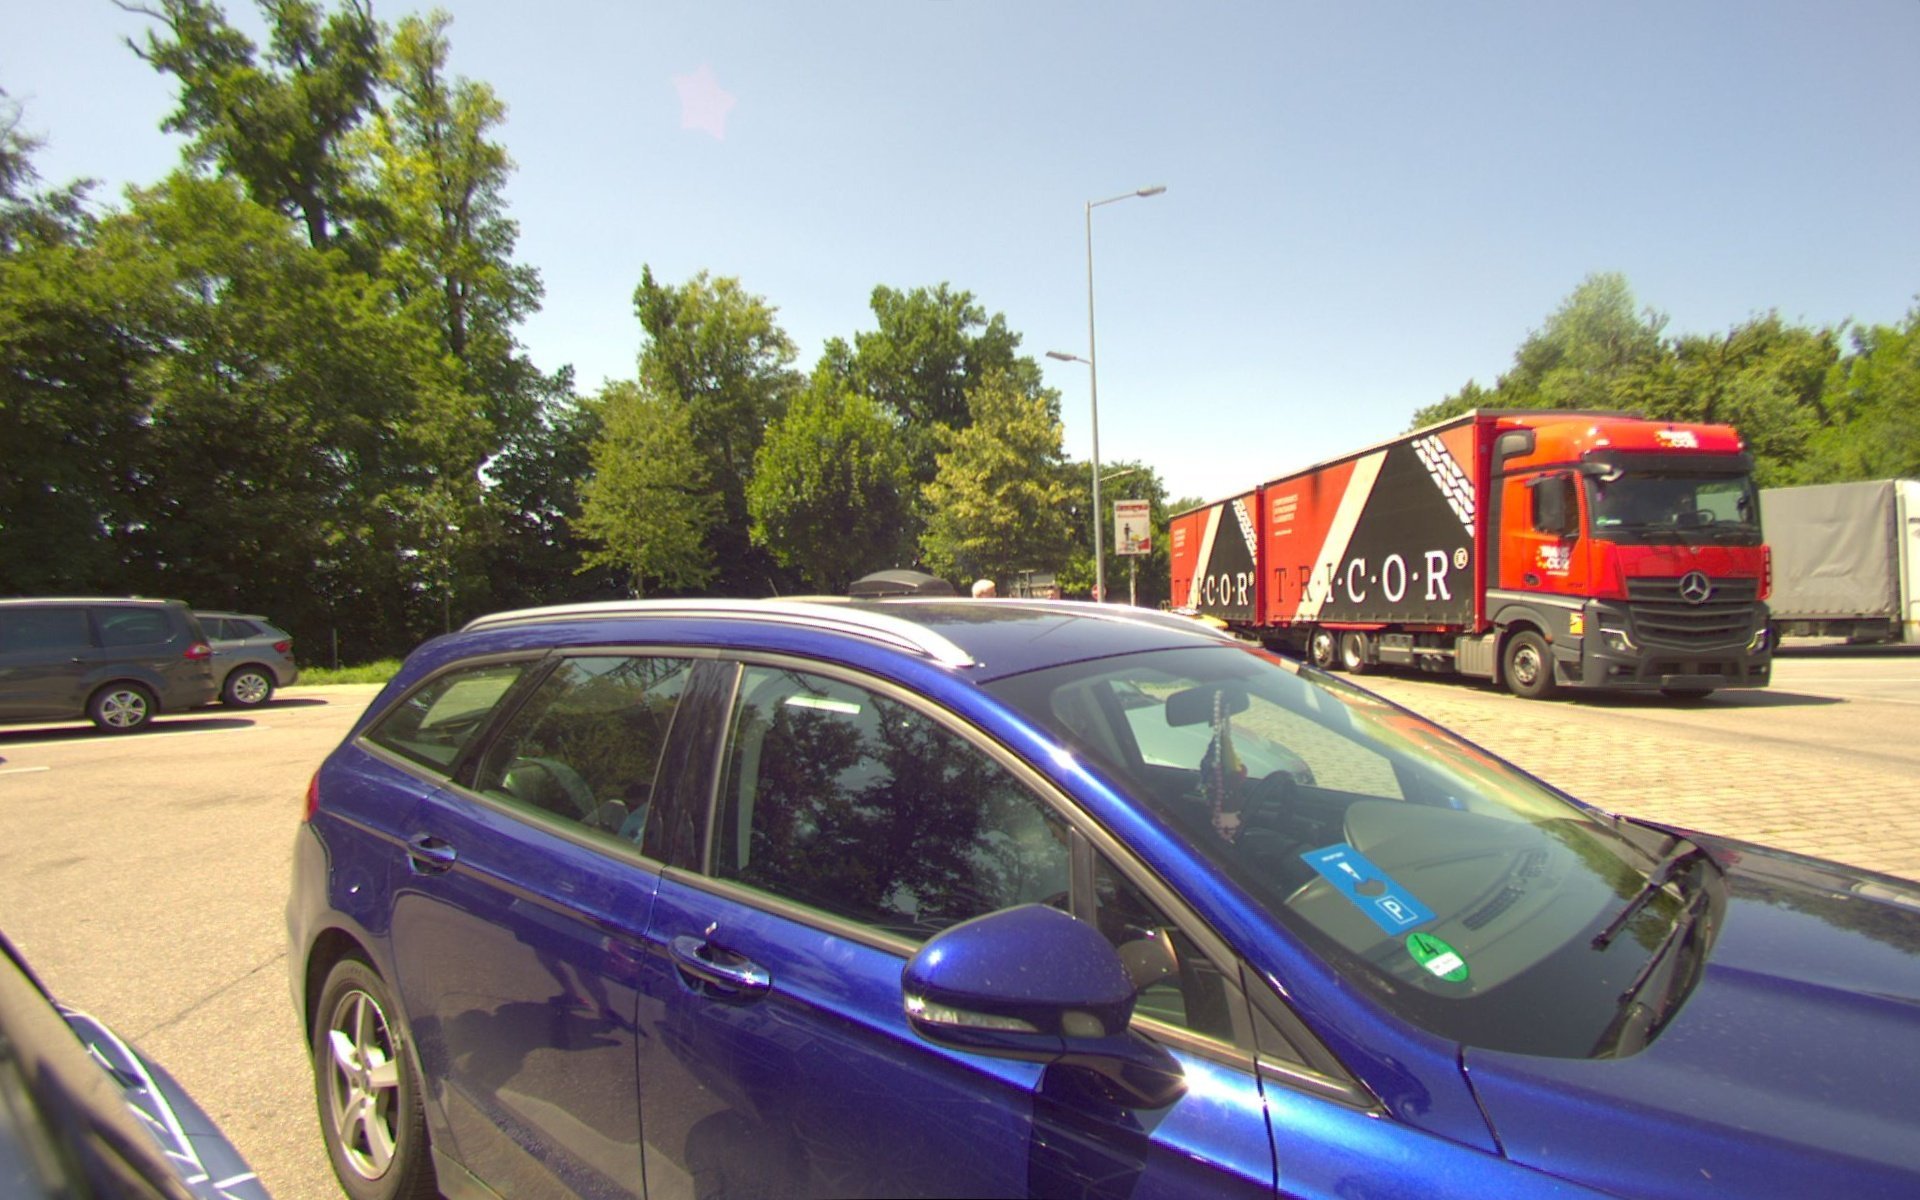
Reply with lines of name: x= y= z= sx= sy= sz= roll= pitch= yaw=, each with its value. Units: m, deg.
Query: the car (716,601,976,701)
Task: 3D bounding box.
car: x=-2.022 y=0.831 z=17.096 sx=4.466 sy=1.476 sz=1.756 roll=-3 pitch=-1 yaw=40

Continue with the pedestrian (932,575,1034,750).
pedestrian: x=0.214 y=0.587 z=9.889 sx=0.661 sy=1.614 sz=0.761 roll=-1 pitch=-1 yaw=-27

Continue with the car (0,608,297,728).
car: x=-12.721 y=0.975 z=15.617 sx=3.910 sy=1.598 sz=1.782 roll=-1 pitch=-1 yaw=-43

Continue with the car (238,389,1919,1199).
car: x=0.231 y=0.633 z=2.111 sx=4.466 sy=1.476 sz=1.756 roll=-3 pitch=-1 yaw=40

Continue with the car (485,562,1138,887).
car: x=-1.233 y=0.633 z=6.718 sx=4.466 sy=1.476 sz=1.756 roll=-3 pitch=-1 yaw=40

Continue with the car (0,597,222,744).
car: x=-11.692 y=0.850 z=12.566 sx=3.910 sy=1.701 sz=1.782 roll=-1 pitch=-1 yaw=-43

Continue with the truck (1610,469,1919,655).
truck: x=16.613 y=-0.639 z=18.736 sx=7.348 sy=3.152 sz=2.339 roll=-3 pitch=-2 yaw=41

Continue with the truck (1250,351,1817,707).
truck: x=8.328 y=-0.764 z=17.276 sx=2.653 sy=4.159 sz=10.617 roll=-2 pitch=-1 yaw=-5

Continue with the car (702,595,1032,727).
car: x=-1.370 y=0.759 z=13.543 sx=4.466 sy=1.476 sz=1.756 roll=-3 pitch=-1 yaw=40

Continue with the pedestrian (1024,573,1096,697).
pedestrian: x=1.395 y=0.481 z=14.120 sx=0.638 sy=1.662 sz=0.717 roll=-1 pitch=-2 yaw=-43

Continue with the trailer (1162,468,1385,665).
trailer: x=7.812 y=-0.664 z=26.795 sx=2.802 sy=4.290 sz=8.688 roll=-2 pitch=-1 yaw=-2
